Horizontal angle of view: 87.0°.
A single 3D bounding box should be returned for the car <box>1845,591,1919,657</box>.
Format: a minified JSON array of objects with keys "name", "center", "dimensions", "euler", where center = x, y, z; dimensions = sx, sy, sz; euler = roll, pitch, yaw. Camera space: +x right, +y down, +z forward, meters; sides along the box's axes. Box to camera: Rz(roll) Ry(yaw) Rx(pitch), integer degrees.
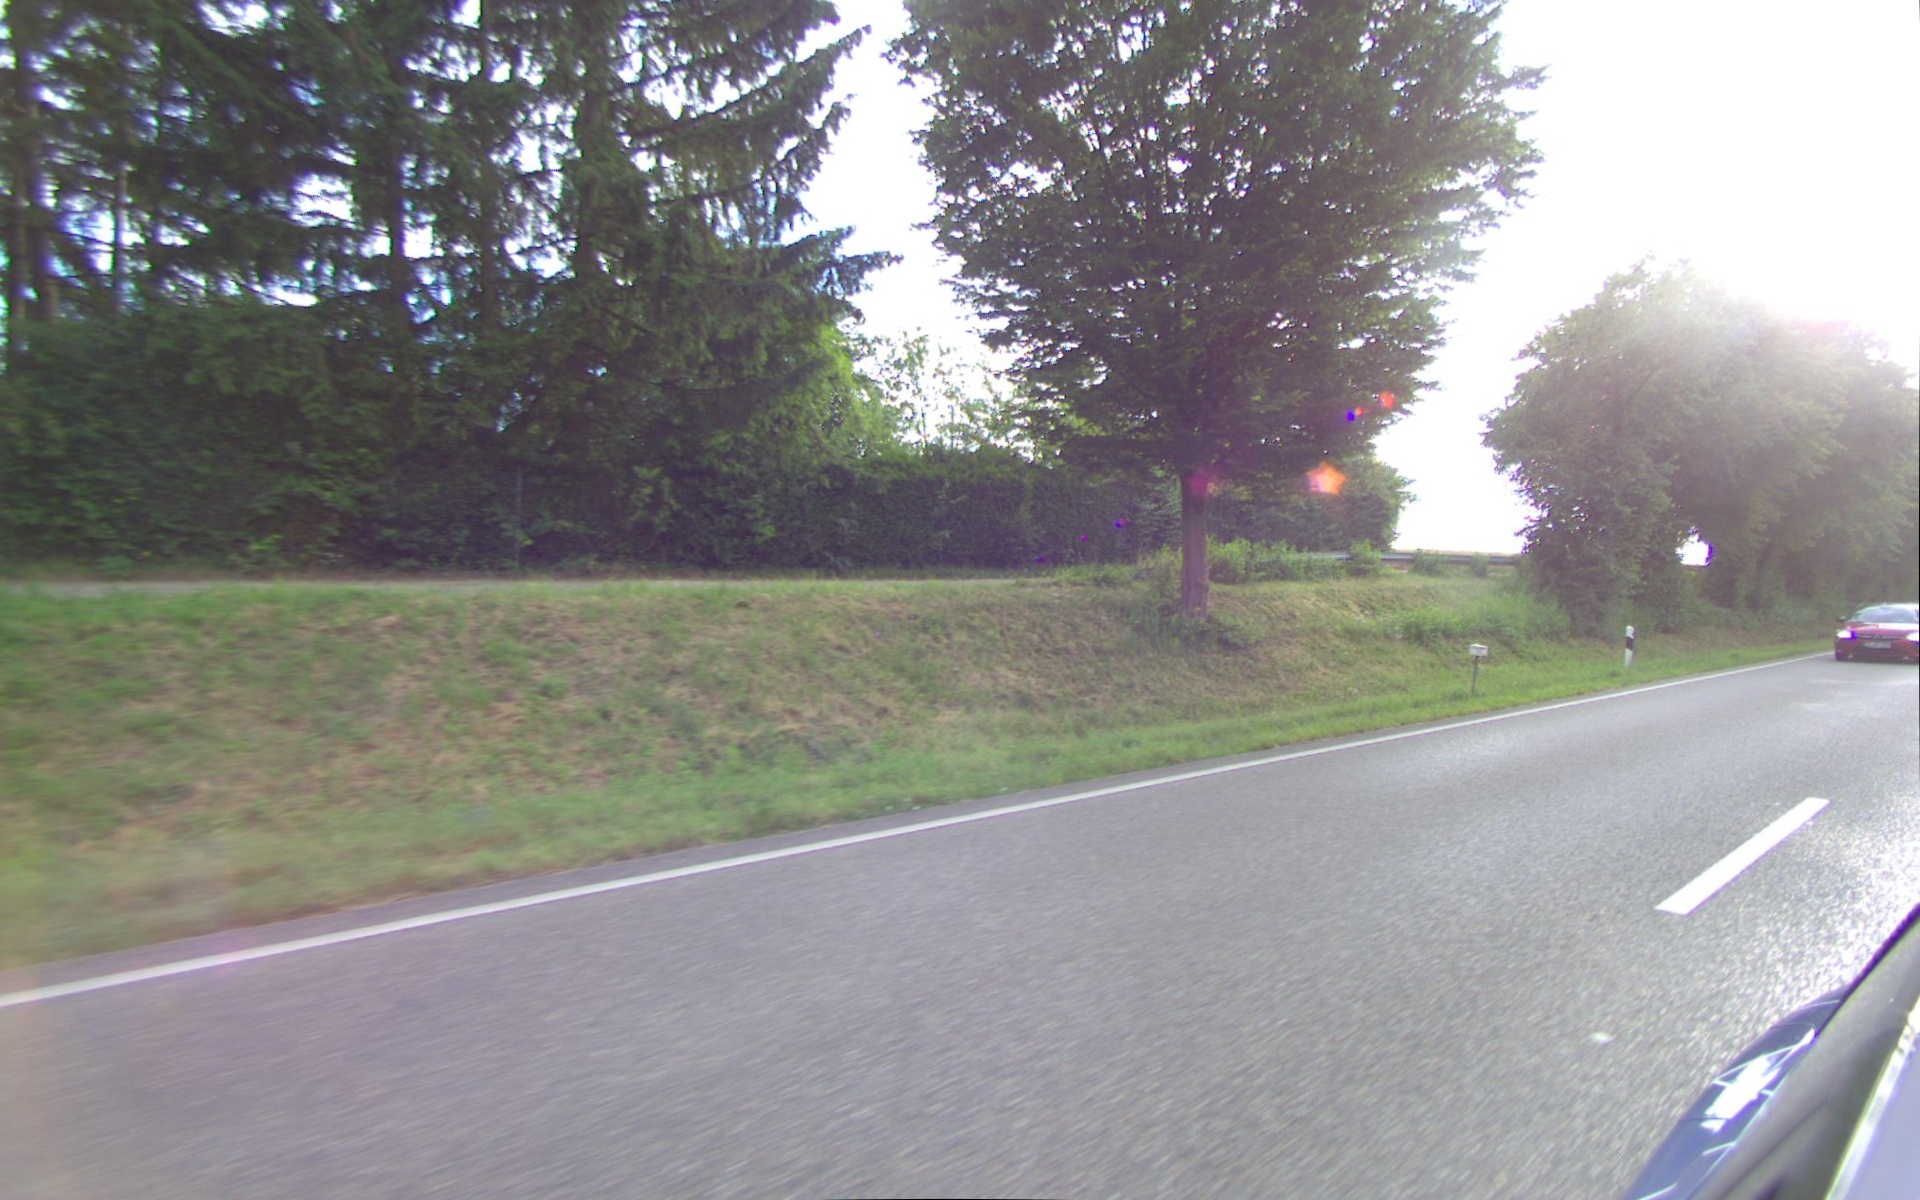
[{"name":"car","center":[23.616,0.593,25.249],"dimensions":[3.661,1.494,1.723],"euler":[1,1,-39]}]
